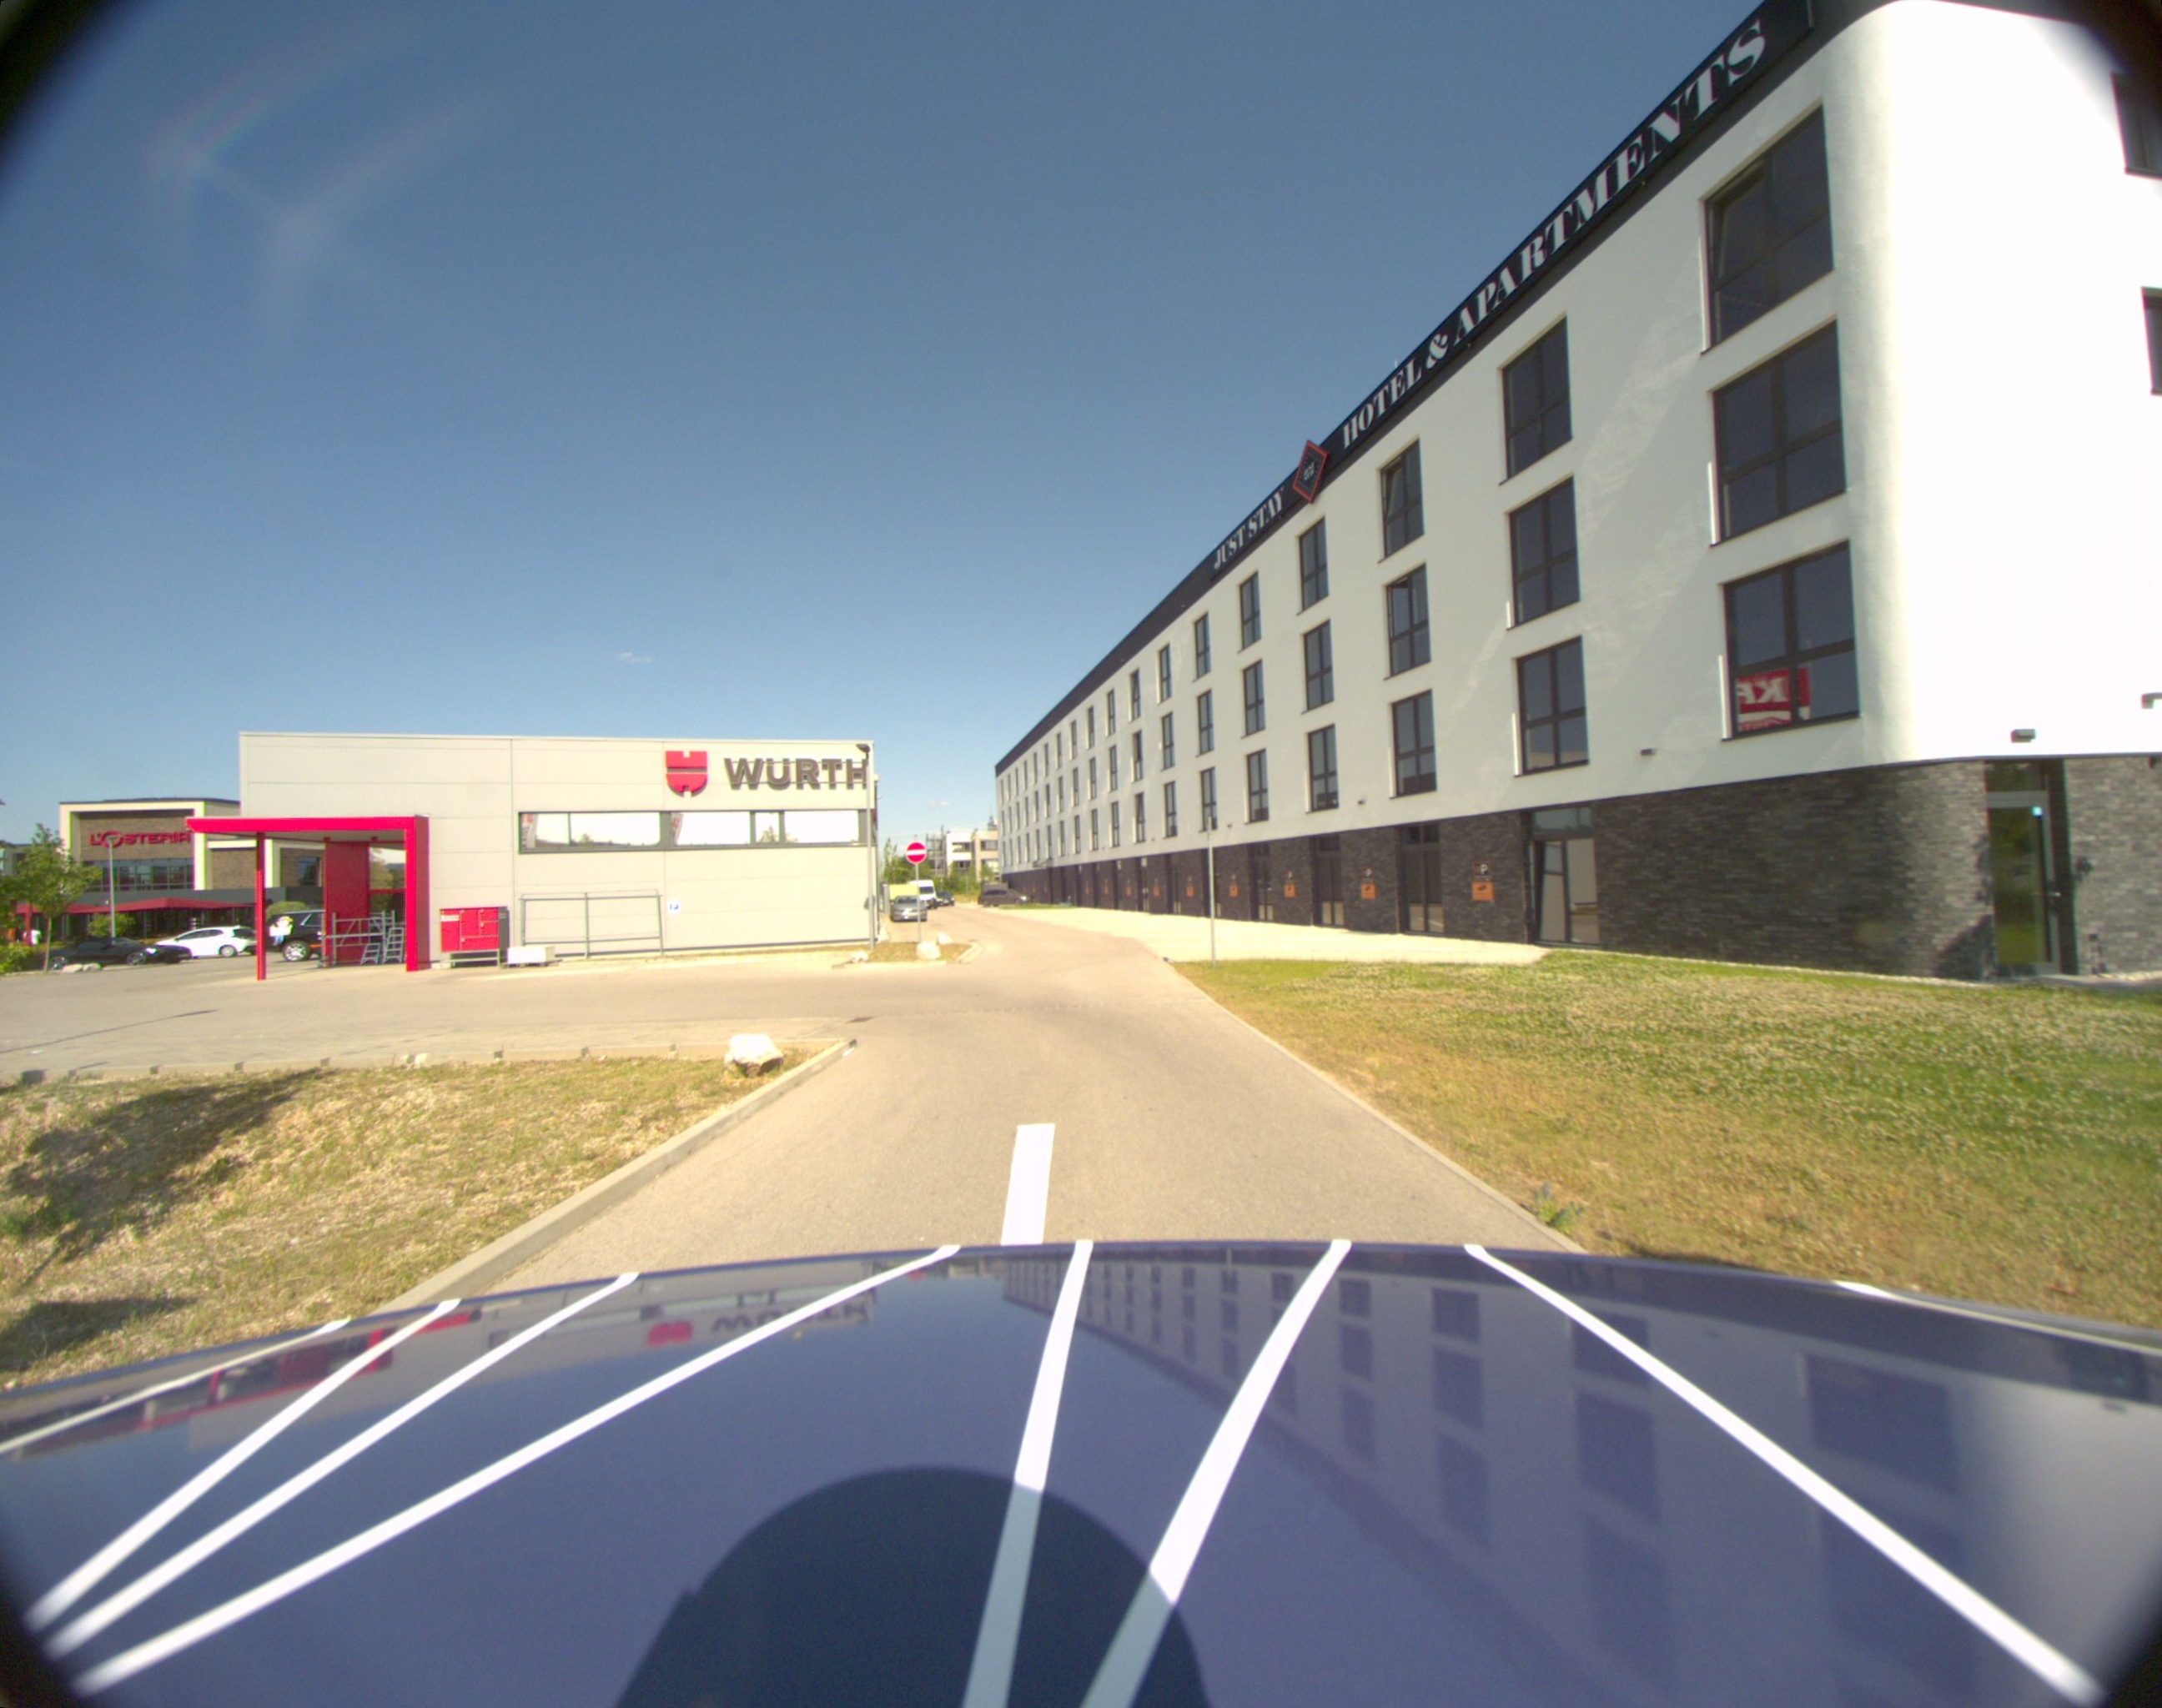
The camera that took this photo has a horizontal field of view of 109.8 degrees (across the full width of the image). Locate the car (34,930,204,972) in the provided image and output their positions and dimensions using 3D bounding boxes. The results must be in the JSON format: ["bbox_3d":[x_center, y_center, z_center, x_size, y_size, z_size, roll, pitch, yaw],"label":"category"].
[{"bbox_3d":[-40.796,4.086,32.349,4.157,1.329,1.829,-2,-2,-17],"label":"car"}]

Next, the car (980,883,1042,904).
[{"bbox_3d":[-5.560,3.140,60.378,4.515,1.499,1.882,-3,-2,21],"label":"car"}]

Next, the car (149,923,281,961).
[{"bbox_3d":[-42.101,4.257,37.025,3.914,1.465,1.802,-2,-2,-11],"label":"car"}]

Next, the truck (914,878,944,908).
[{"bbox_3d":[-13.035,3.307,64.709,2.001,2.362,5.884,-2,-2,-15],"label":"truck"}]

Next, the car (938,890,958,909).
[{"bbox_3d":[-12.375,4.209,70.675,1.719,1.608,3.997,-3,-1,-10],"label":"car"}]

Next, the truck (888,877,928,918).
[{"bbox_3d":[-11.183,2.731,48.865,2.125,2.362,5.884,-2,-2,-15],"label":"truck"}]

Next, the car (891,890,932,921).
[{"bbox_3d":[-9.503,2.837,42.405,1.881,1.498,3.995,-2,-2,-17],"label":"car"}]
